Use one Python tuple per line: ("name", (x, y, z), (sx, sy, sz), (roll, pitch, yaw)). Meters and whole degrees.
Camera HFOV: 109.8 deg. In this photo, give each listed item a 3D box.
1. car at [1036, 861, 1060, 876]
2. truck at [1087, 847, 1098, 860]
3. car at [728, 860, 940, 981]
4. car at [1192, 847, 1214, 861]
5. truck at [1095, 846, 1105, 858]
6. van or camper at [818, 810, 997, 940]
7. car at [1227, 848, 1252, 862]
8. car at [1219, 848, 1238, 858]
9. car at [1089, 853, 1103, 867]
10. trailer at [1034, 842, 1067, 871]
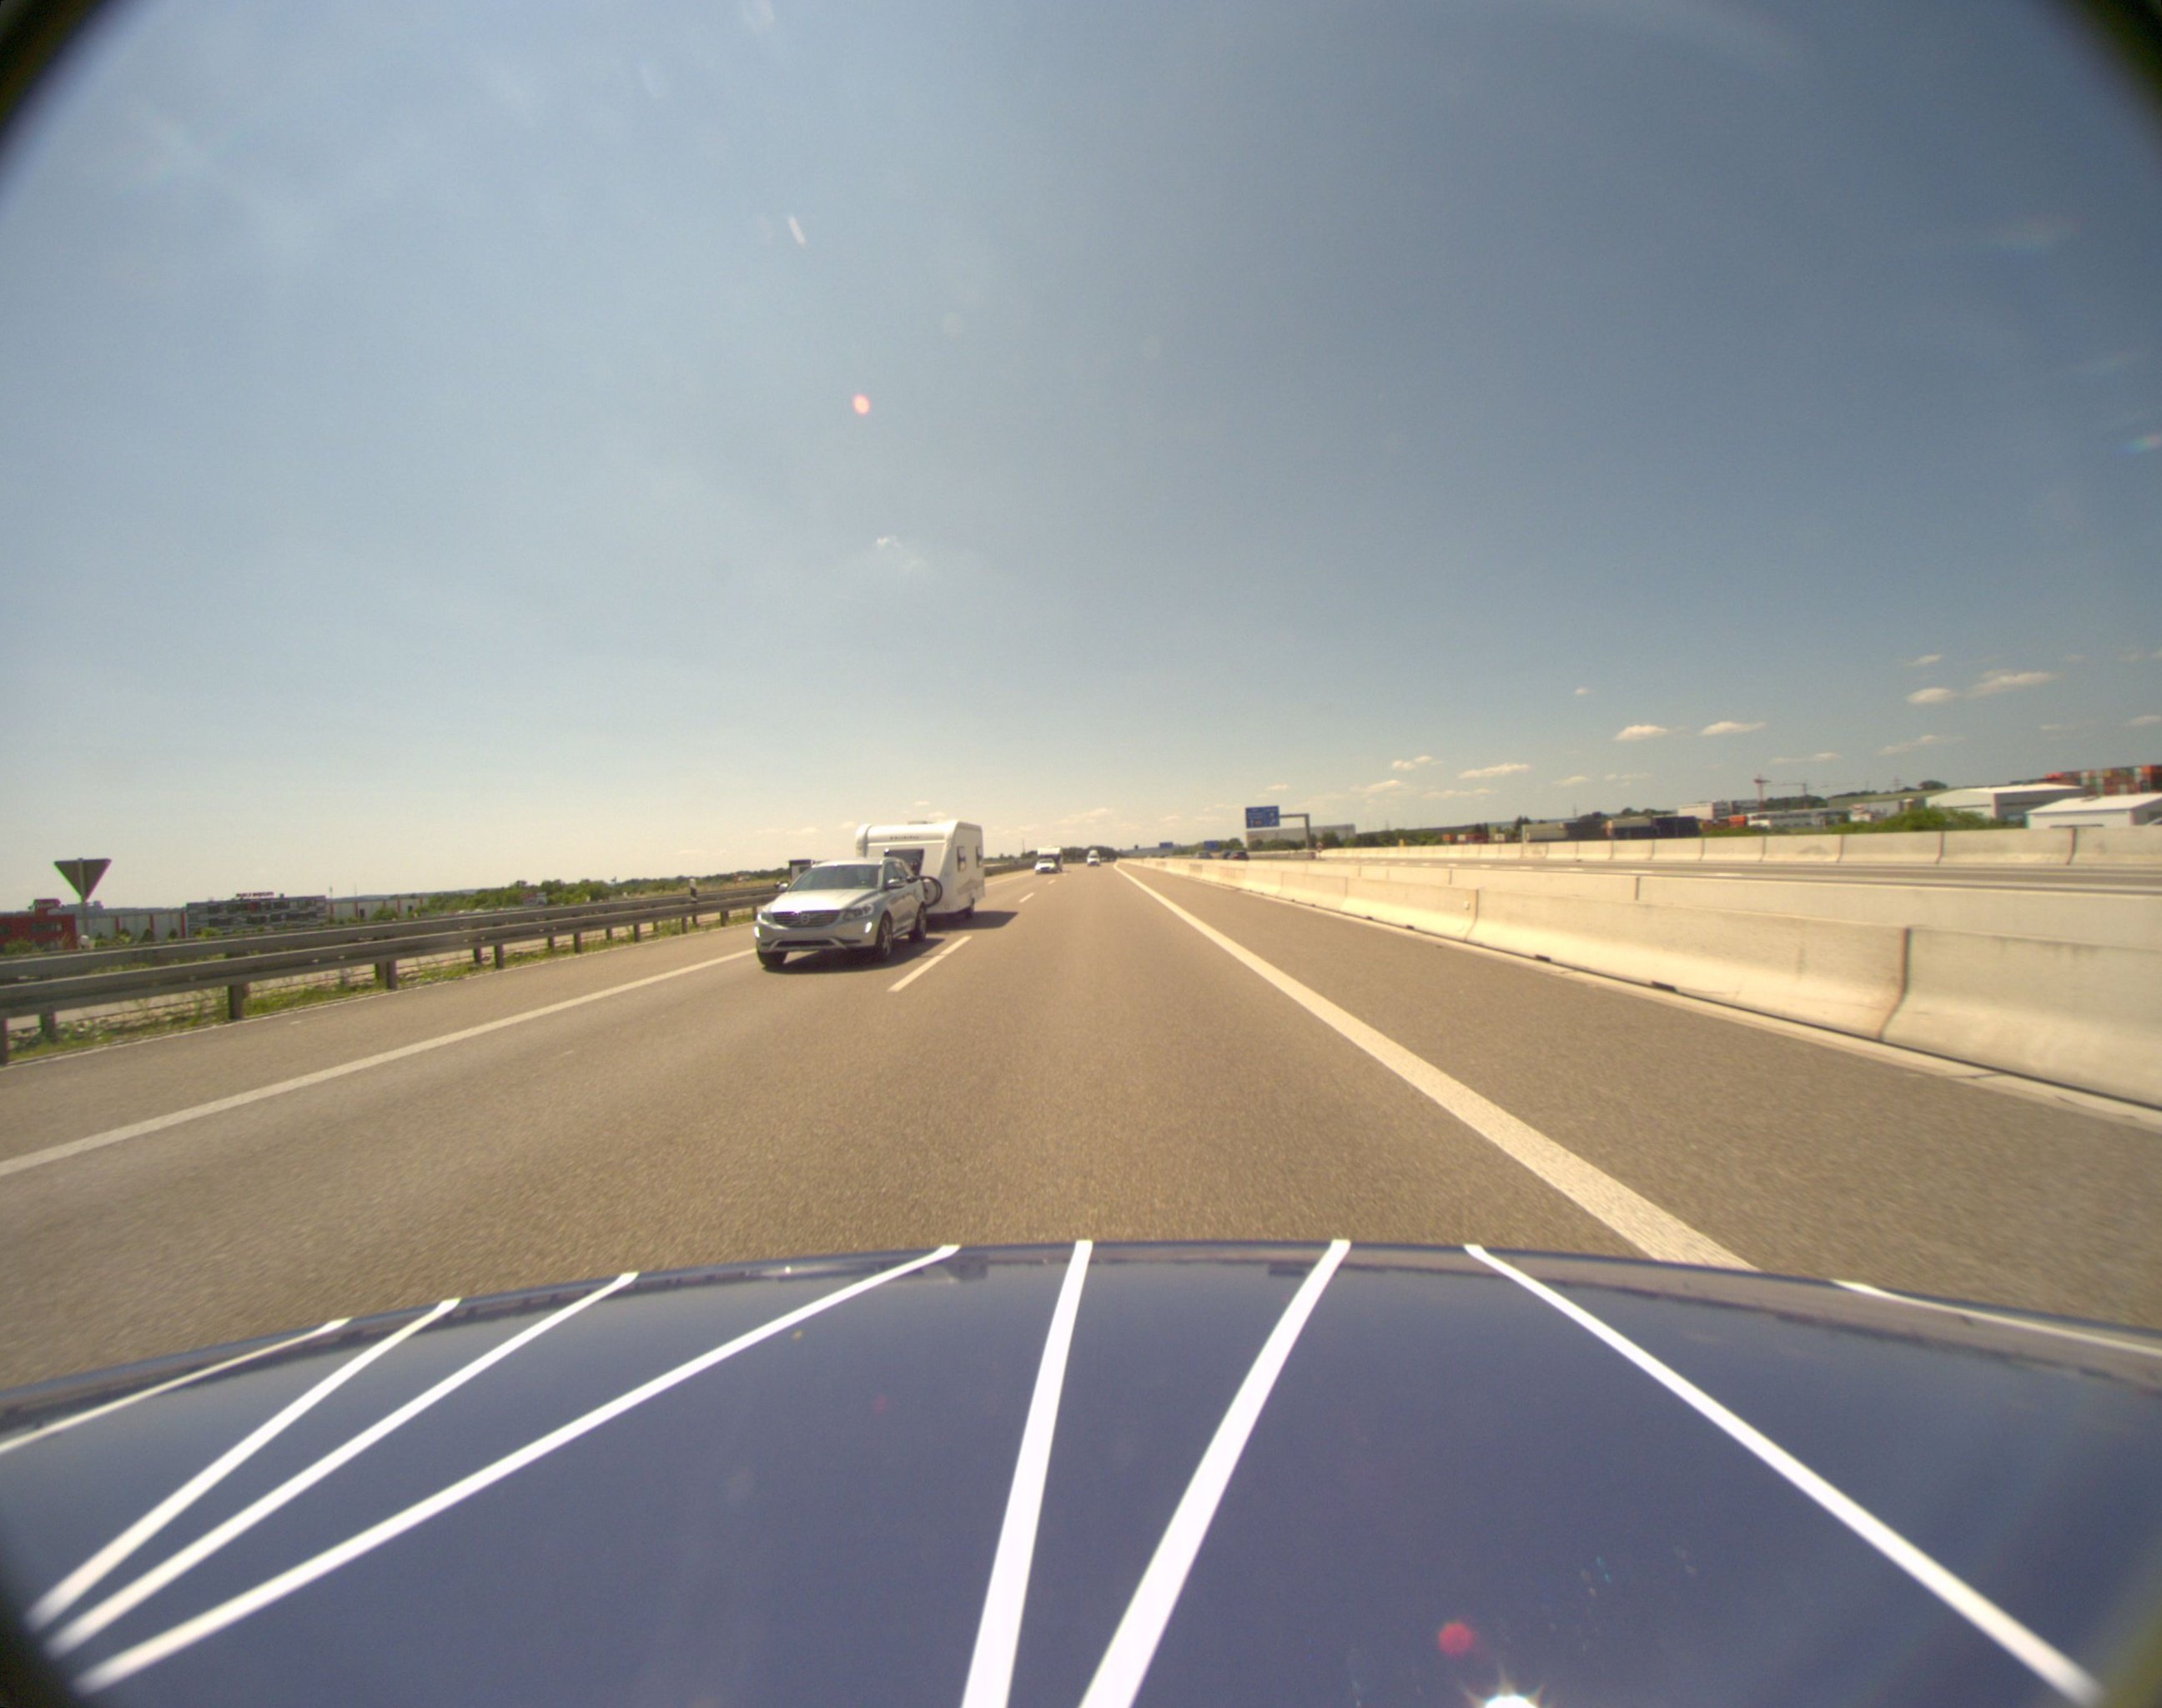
("car", (-3.104, 1.323, 72.068), (1.872, 1.352, 3.673), (-1, 0, 3))
("truck", (2.548, -0.162, 166.518), (2.168, 2.797, 6.490), (-2, 0, 1))
("car", (-3.935, 0.959, 13.142), (1.885, 1.613, 4.904), (-2, 0, 2))
("car", (13.384, 0.008, 83.545), (1.847, 1.412, 4.525), (-2, 0, 1))
("truck", (4.712, -0.446, 188.764), (2.167, 2.797, 6.492), (-2, 0, 5))
("van or camper", (-3.986, 0.454, 19.475), (2.518, 2.577, 7.818), (-2, 0, 2))
("car", (17.440, 0.123, 83.780), (1.917, 1.412, 4.908), (-2, 0, 2))
("car", (21.410, -0.135, 110.574), (1.915, 1.412, 4.550), (-2, 0, 1))
("car", (2.190, 0.883, 113.956), (1.998, 2.002, 4.000), (-2, 0, 1))
("trailer", (-3.041, 0.274, 77.443), (2.500, 2.686, 7.156), (-2, 0, 3))
